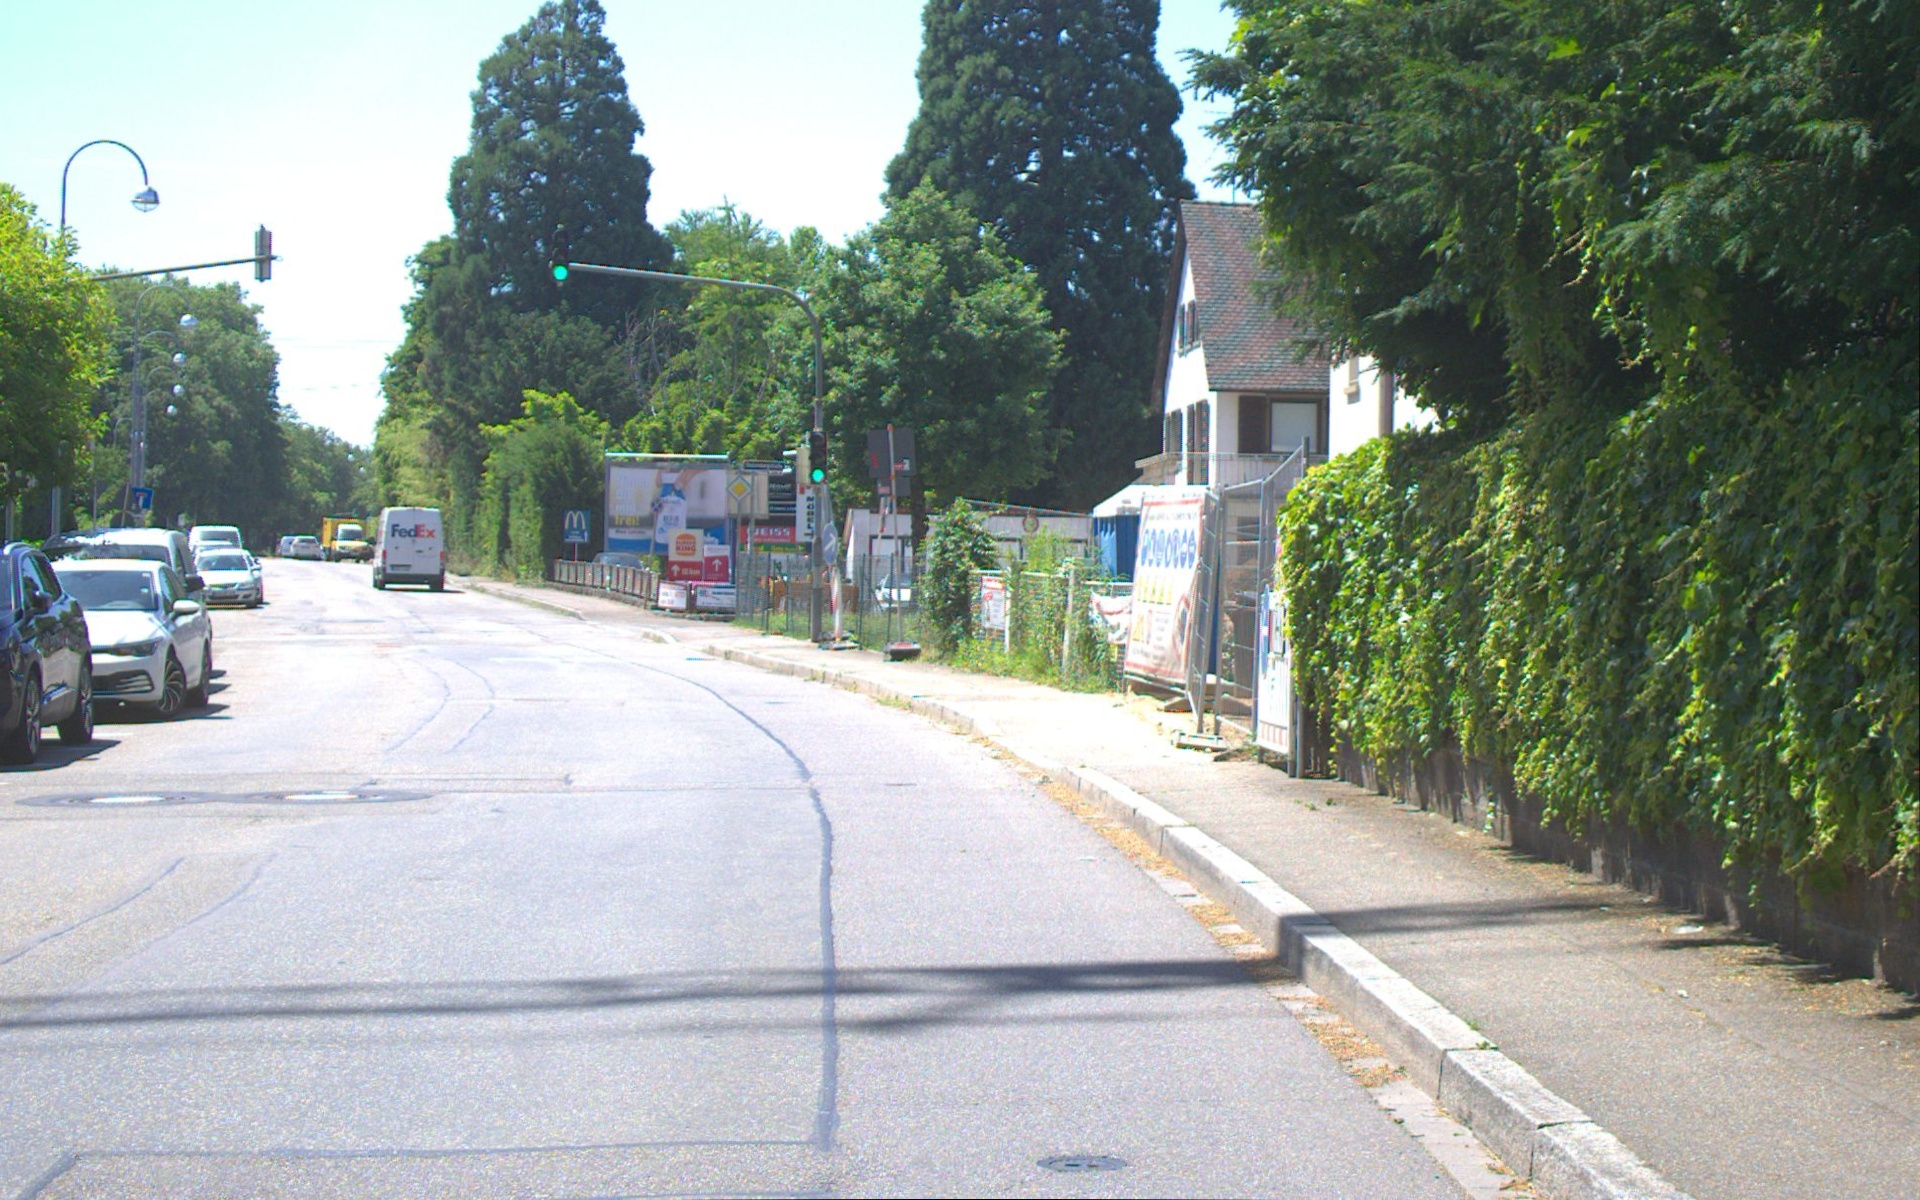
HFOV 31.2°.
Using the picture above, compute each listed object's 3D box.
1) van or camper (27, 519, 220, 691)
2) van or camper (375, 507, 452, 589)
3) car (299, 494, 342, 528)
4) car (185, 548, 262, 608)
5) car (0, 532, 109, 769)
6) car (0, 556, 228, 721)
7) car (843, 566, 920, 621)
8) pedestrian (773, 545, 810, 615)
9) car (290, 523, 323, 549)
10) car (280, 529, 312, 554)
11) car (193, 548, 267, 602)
[{"bbox_3d":[-9.240,0.023,38.225,1.680,1.798,3.986,-1,1,-8],"label":"van or camper"},{"bbox_3d":[-17.034,-1.625,107.059,2.262,2.519,4.761,0,1,-10],"label":"van or camper"},{"bbox_3d":[-33.316,-4.624,178.929,1.993,1.656,4.001,1,1,-13],"label":"car"},{"bbox_3d":[-18.381,-0.562,85.690,1.758,1.442,3.925,0,1,-14],"label":"car"},{"bbox_3d":[-7.549,0.327,25.786,1.681,1.631,4.331,-1,1,-6],"label":"car"},{"bbox_3d":[-7.963,0.312,32.316,1.681,1.436,4.248,-1,1,-6],"label":"car"},{"bbox_3d":[-1.920,-0.164,84.935,1.712,1.265,3.384,2,1,1],"label":"car"},{"bbox_3d":[-3.890,-0.465,79.326,0.695,1.594,0.573,2,0,-12],"label":"pedestrian"},{"bbox_3d":[-43.324,-4.212,227.856,1.993,1.656,4.001,1,1,-13],"label":"car"},{"bbox_3d":[-46.882,-4.128,242.728,1.993,1.656,4.001,1,1,-13],"label":"car"},{"bbox_3d":[-19.267,-0.675,90.648,1.794,1.397,4.220,0,1,-14],"label":"car"}]
